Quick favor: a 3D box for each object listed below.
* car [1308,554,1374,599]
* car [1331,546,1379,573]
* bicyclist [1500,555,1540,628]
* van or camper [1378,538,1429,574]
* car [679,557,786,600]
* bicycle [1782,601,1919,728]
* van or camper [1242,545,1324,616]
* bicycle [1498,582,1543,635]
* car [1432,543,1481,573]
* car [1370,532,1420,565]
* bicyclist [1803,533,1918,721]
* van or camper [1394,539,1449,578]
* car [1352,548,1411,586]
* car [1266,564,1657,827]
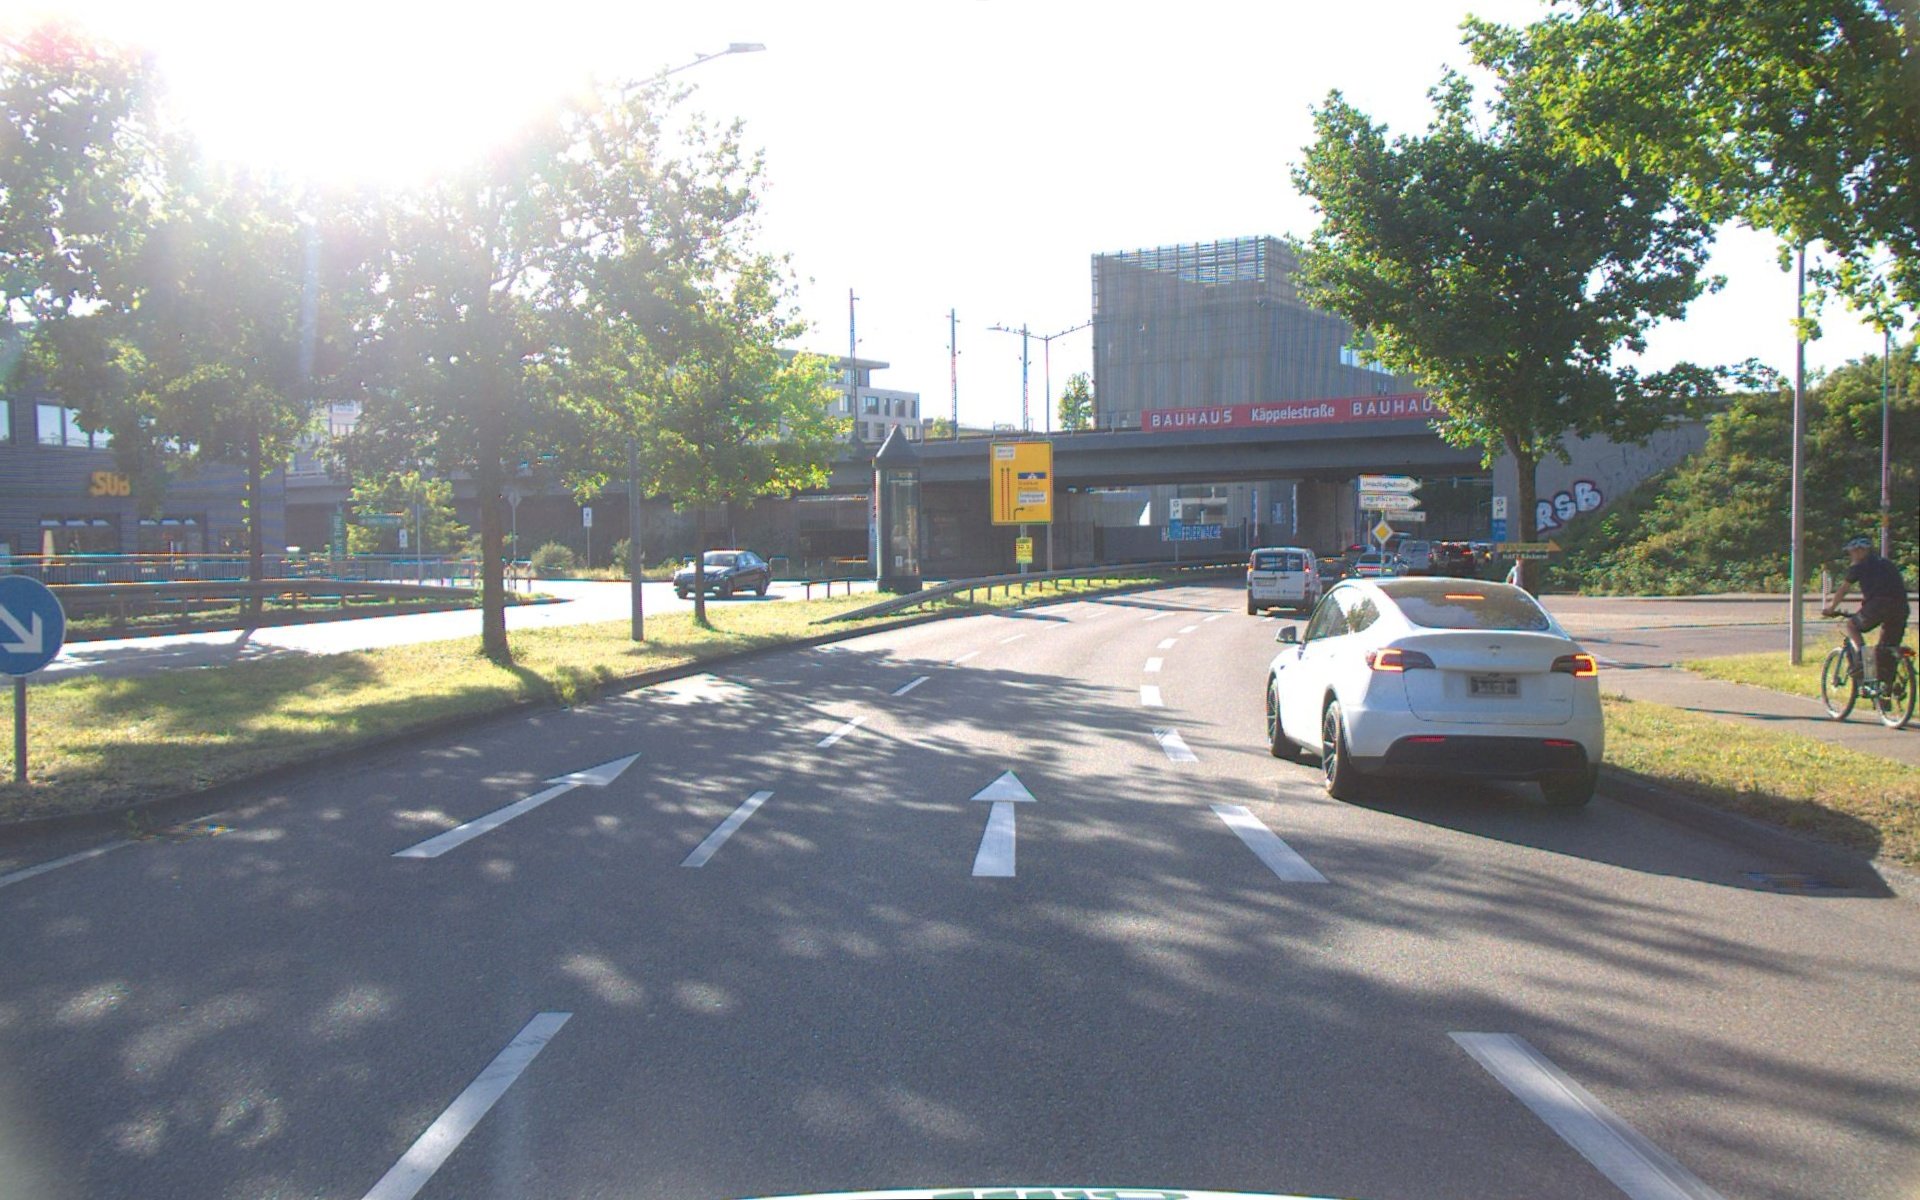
[{"bbox_3d":[13.734,-0.865,59.494,1.572,1.459,3.677,2,3,25],"label":"car"},{"bbox_3d":[22.442,-2.324,93.932,1.676,1.477,3.736,1,3,30],"label":"car"},{"bbox_3d":[13.040,-0.200,38.533,0.730,1.647,0.913,-2,1,14],"label":"bicyclist"},{"bbox_3d":[23.634,-2.375,88.058,1.721,1.844,3.953,1,3,28],"label":"van or camper"},{"bbox_3d":[-7.432,-0.732,54.441,1.761,1.333,4.619,1,1,16],"label":"car"},{"bbox_3d":[9.003,0.608,16.605,0.680,1.114,2.120,-2,1,8],"label":"bicycle"},{"bbox_3d":[9.517,-0.610,48.470,1.917,1.916,4.884,0,2,16],"label":"van or camper"},{"bbox_3d":[13.019,0.179,38.477,0.727,1.131,2.454,-2,1,13],"label":"bicycle"},{"bbox_3d":[26.313,-2.249,87.531,1.676,1.549,3.736,1,3,30],"label":"car"},{"bbox_3d":[26.502,-3.150,100.705,1.832,1.980,4.588,1,3,30],"label":"car"},{"bbox_3d":[8.974,0.253,16.511,0.661,1.807,0.949,-2,1,8],"label":"bicyclist"},{"bbox_3d":[22.460,-2.043,80.371,1.790,1.822,4.541,1,3,26],"label":"van or camper"},{"bbox_3d":[17.760,-1.394,69.563,1.728,1.501,4.288,0,2,23],"label":"car"},{"bbox_3d":[3.721,0.621,13.145,1.874,1.669,4.411,2,0,2],"label":"car"}]
